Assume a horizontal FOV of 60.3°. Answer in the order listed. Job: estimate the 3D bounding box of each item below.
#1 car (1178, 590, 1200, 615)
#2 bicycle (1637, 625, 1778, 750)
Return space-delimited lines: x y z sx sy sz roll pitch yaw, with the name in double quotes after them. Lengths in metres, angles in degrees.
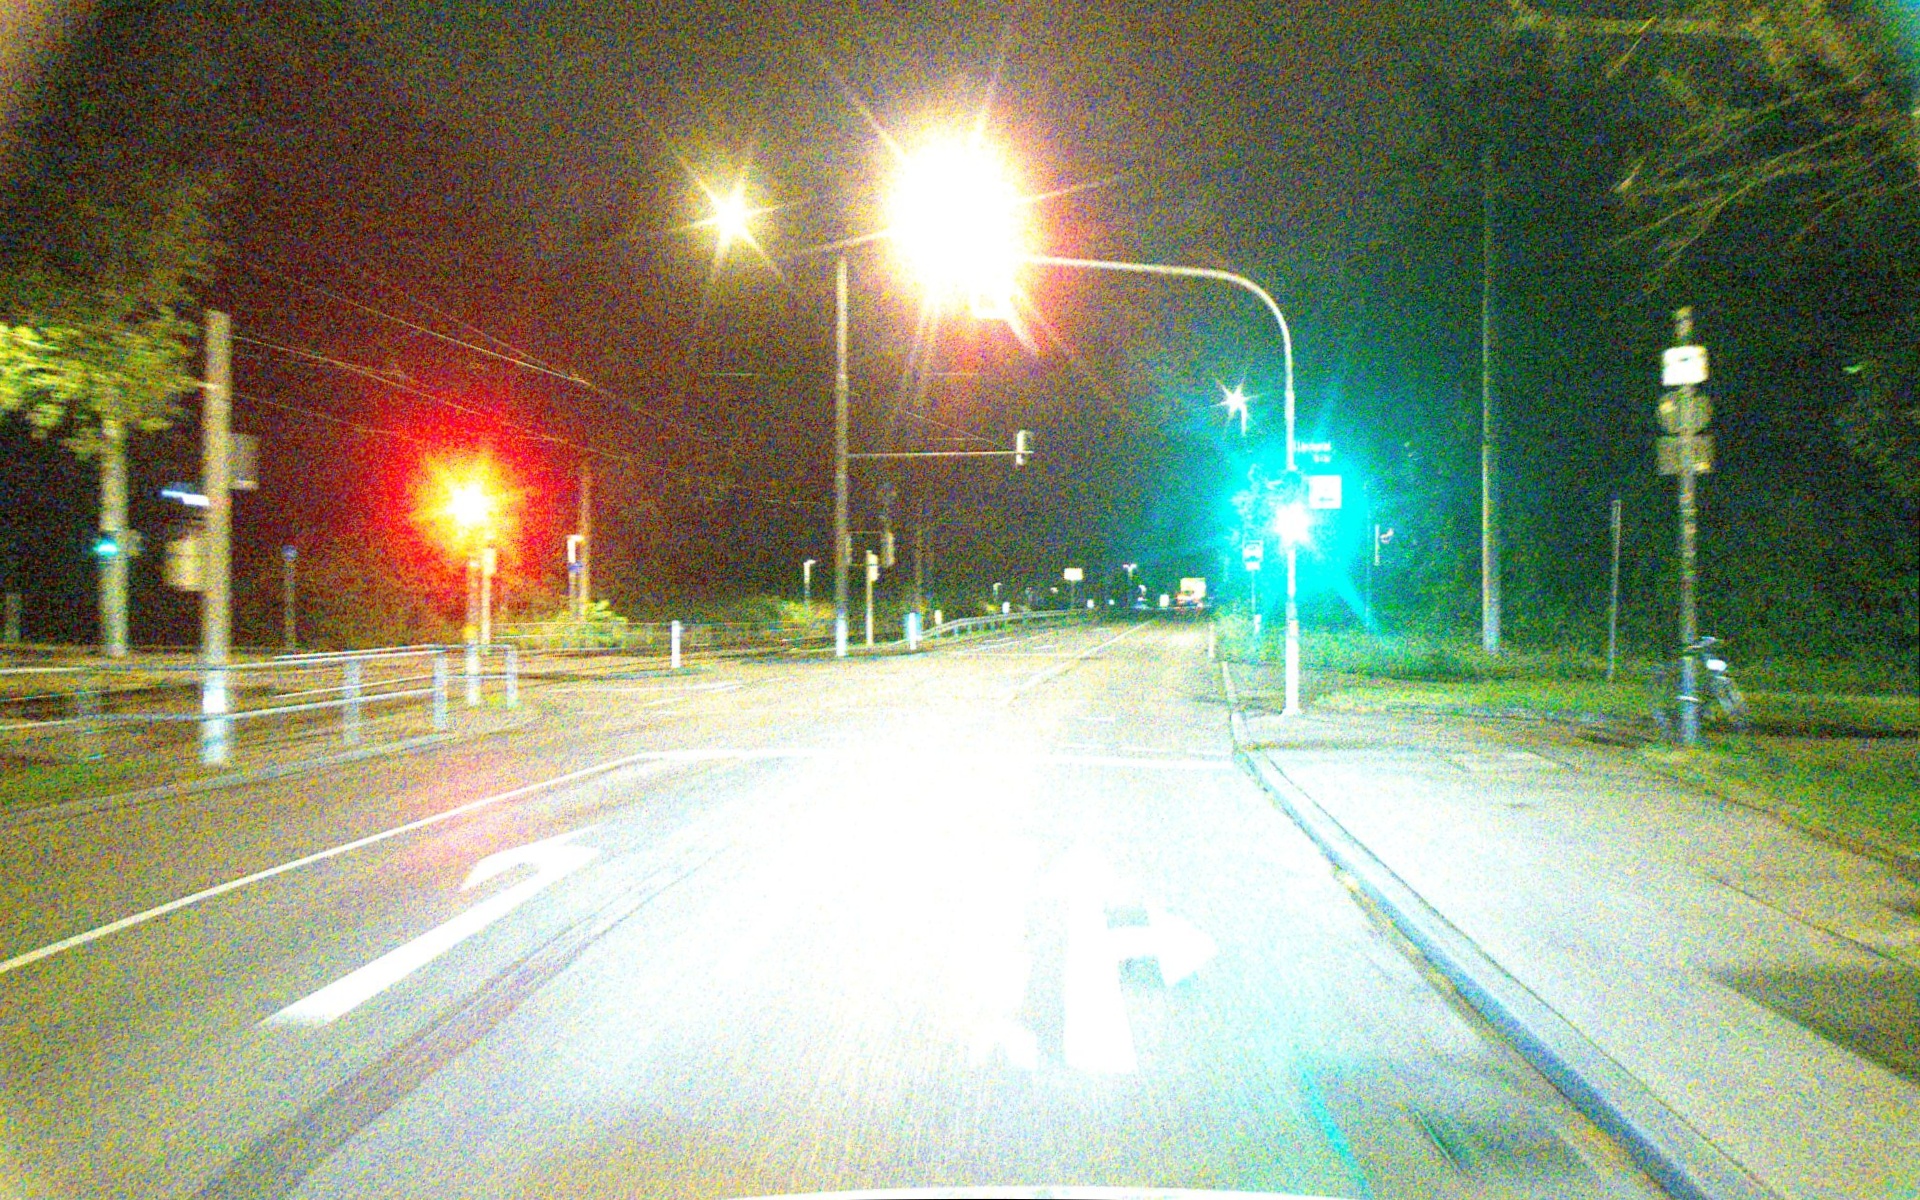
20.929 0.248 151.266 1.951 2.049 4.002 1 -3 8 "car"
6.402 0.753 14.256 0.289 0.999 1.944 0 -3 0 "bicycle"
